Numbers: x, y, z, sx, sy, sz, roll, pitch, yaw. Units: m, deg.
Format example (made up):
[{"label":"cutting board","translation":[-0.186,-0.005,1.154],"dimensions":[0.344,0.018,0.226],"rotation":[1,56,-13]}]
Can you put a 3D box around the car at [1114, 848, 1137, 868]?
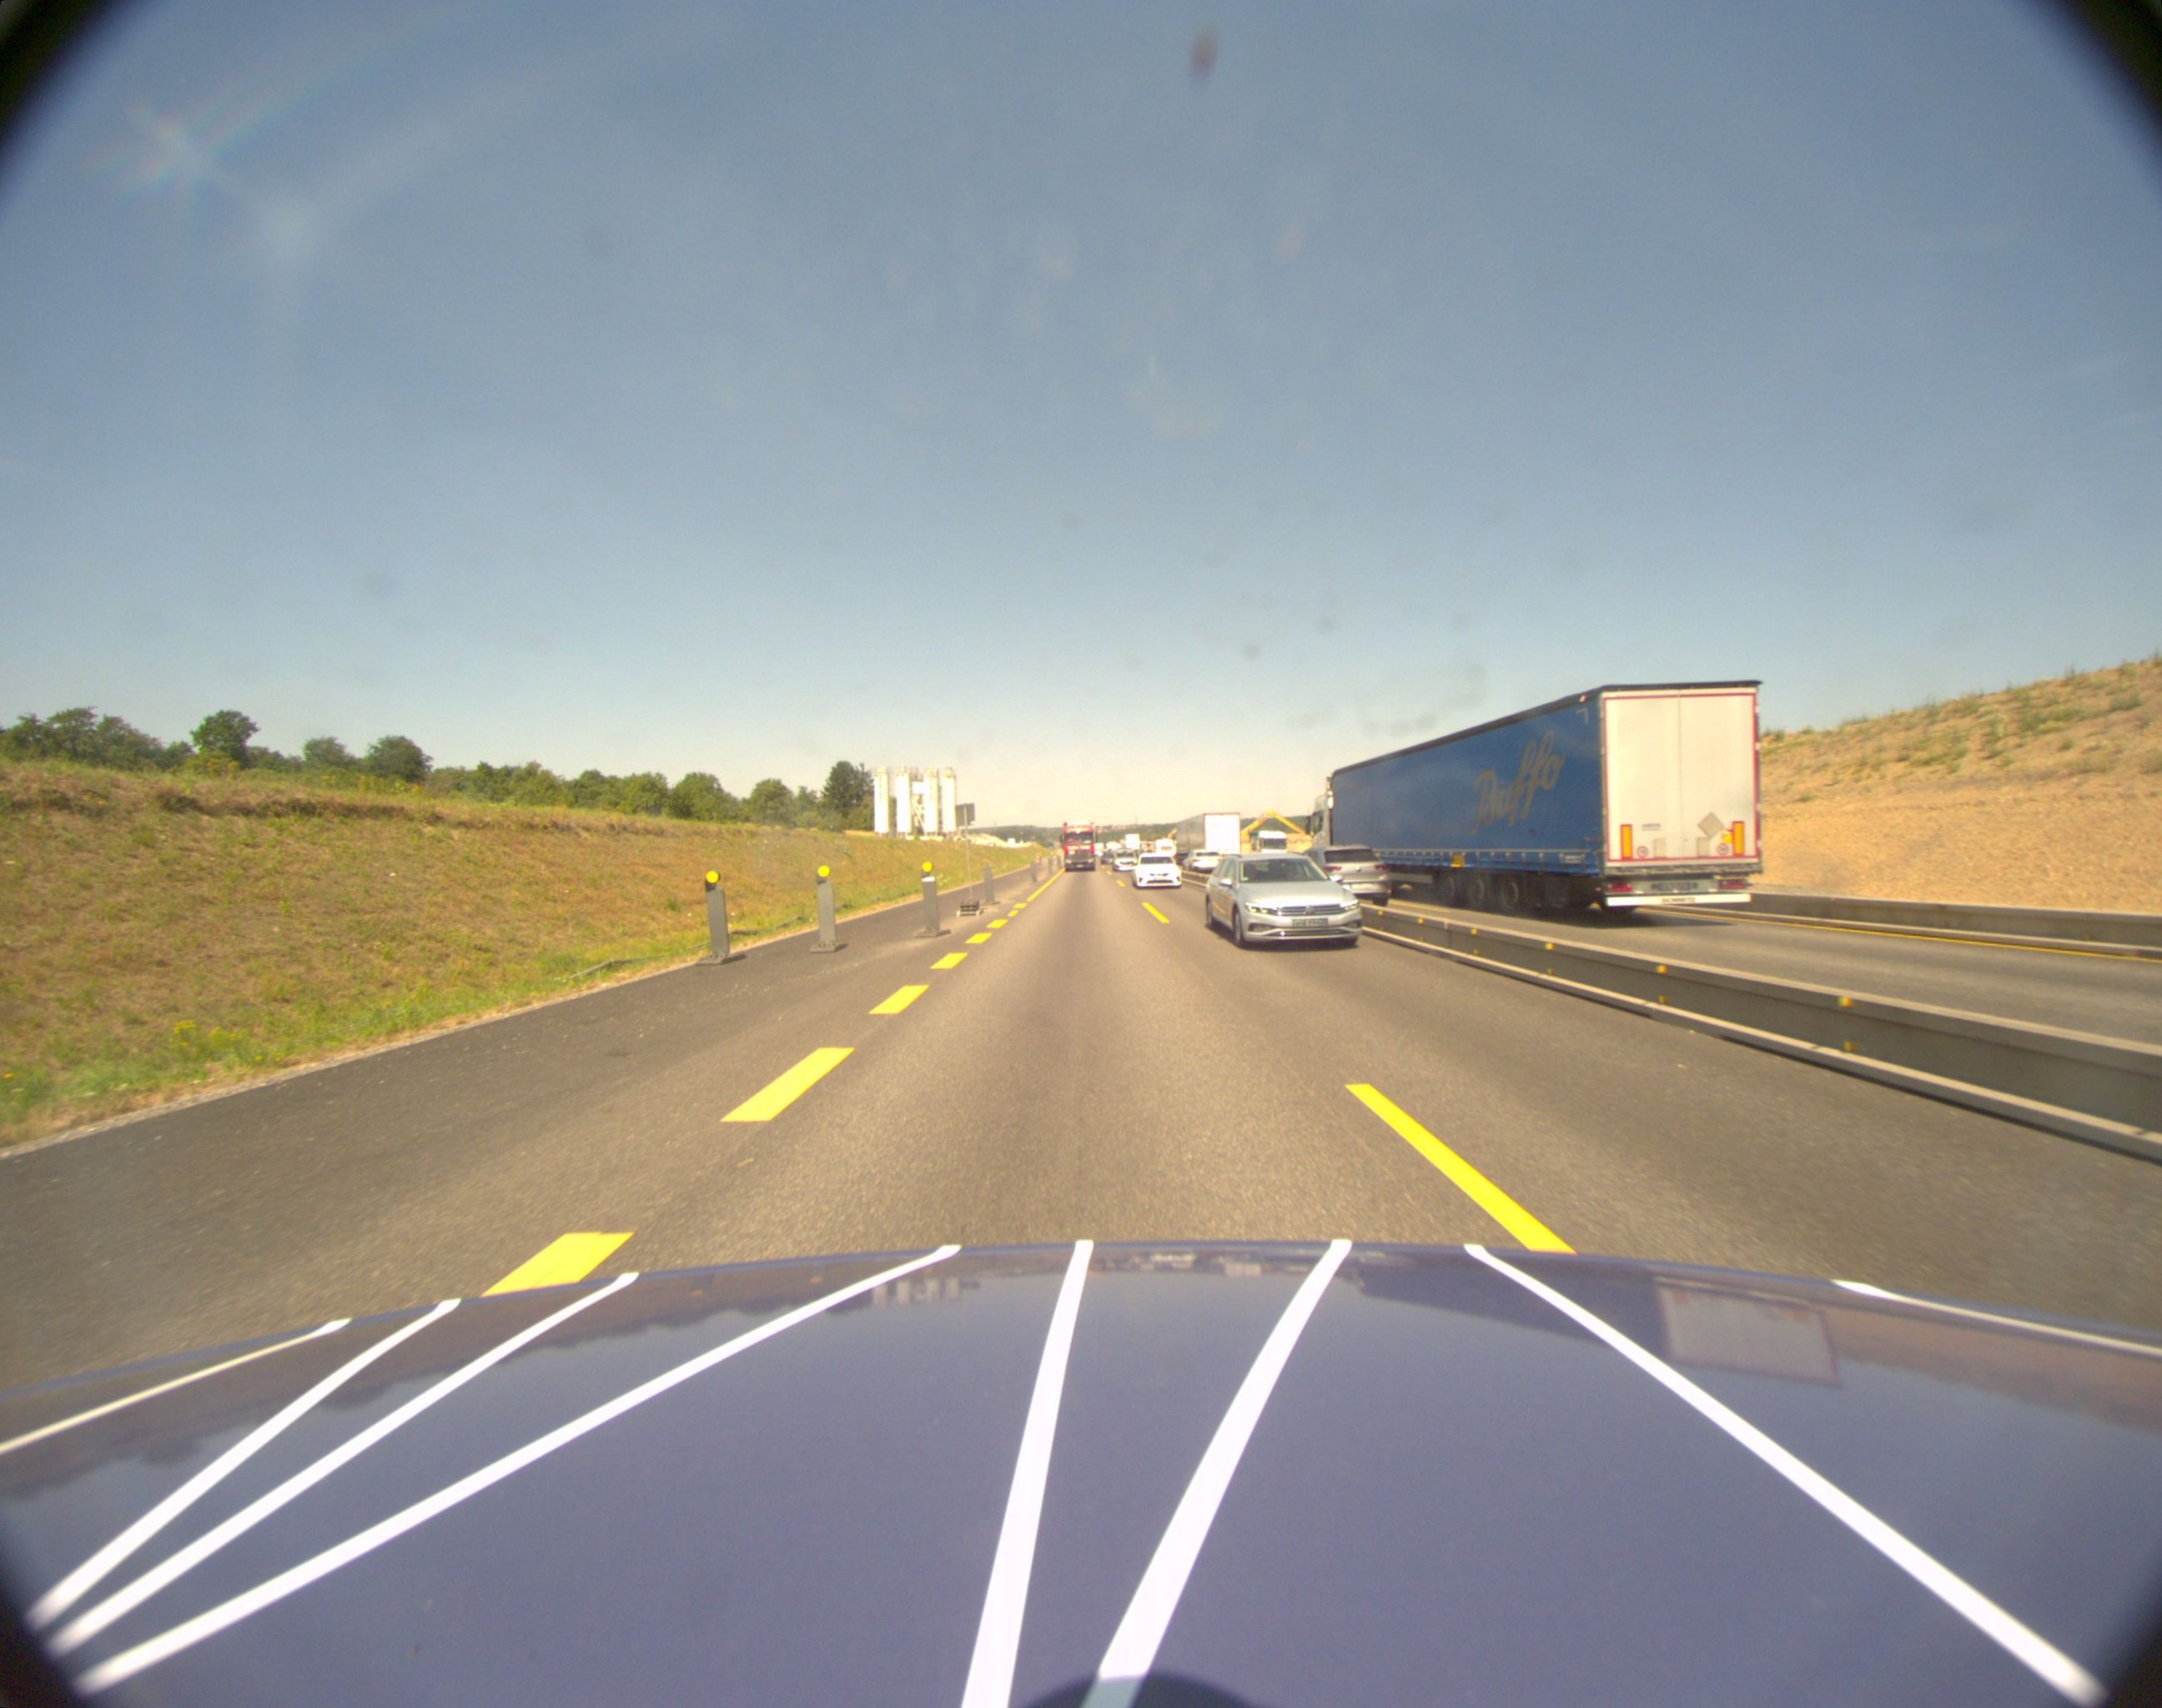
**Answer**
[{"label":"car","translation":[3.364,0.272,58.274],"dimensions":[1.601,1.390,3.695],"rotation":[-2,1,1]}]

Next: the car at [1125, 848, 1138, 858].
[{"label":"car","translation":[8.083,-0.201,121.868],"dimensions":[1.693,1.493,3.975],"rotation":[-2,1,0]}]

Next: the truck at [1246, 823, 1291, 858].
[{"label":"truck","translation":[16.886,-1.204,68.768],"dimensions":[2.586,2.947,5.060],"rotation":[-2,1,-3]}]

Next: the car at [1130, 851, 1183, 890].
[{"label":"car","translation":[3.102,0.648,31.846],"dimensions":[1.875,1.390,4.029],"rotation":[-2,1,1]}]

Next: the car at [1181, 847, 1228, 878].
[{"label":"car","translation":[6.696,0.435,41.673],"dimensions":[1.812,1.480,4.242],"rotation":[-2,1,0]}]

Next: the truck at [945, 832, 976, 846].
[{"label":"truck","translation":[-24.605,-3.097,155.021],"dimensions":[5.317,2.530,2.897],"rotation":[-3,2,-36]}]

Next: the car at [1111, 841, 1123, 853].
[{"label":"car","translation":[7.457,-1.509,157.352],"dimensions":[1.998,2.279,5.342],"rotation":[-2,1,0]}]

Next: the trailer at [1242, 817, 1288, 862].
[{"label":"trailer","translation":[17.886,-1.450,73.488],"dimensions":[2.793,4.075,8.381],"rotation":[-2,2,23]}]

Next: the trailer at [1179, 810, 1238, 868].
[{"label":"trailer","translation":[10.069,-1.152,61.737],"dimensions":[2.508,4.155,15.532],"rotation":[0,1,1]}]

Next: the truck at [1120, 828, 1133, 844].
[{"label":"truck","translation":[11.049,-4.345,184.401],"dimensions":[2.651,3.695,9.480],"rotation":[-2,1,1]}]

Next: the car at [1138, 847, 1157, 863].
[{"label":"car","translation":[7.196,0.068,82.539],"dimensions":[1.693,1.604,4.592],"rotation":[-2,1,0]}]

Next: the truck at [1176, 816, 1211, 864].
[{"label":"truck","translation":[10.222,-1.237,69.527],"dimensions":[2.497,4.174,5.911],"rotation":[0,1,2]}]

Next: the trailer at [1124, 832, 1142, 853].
[{"label":"trailer","translation":[10.648,-2.404,156.828],"dimensions":[2.861,4.070,13.649],"rotation":[-1,1,1]}]

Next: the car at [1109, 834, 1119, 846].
[{"label":"car","translation":[11.386,-4.838,263.765],"dimensions":[2.915,3.719,8.090],"rotation":[-2,1,1]}]

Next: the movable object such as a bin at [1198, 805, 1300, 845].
[{"label":"movable object such as a bin","translation":[31.817,-5.468,144.423],"dimensions":[18.266,6.734,3.387],"rotation":[-2,2,0]}]

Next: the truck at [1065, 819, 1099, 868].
[{"label":"truck","translation":[0.169,-0.922,64.339],"dimensions":[2.537,3.799,9.480],"rotation":[-2,1,1]}]

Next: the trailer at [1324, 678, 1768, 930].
[{"label":"trailer","translation":[9.689,-0.859,19.152],"dimensions":[2.660,3.915,13.994],"rotation":[-2,1,1]}]

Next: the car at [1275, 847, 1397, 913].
[{"label":"car","translation":[6.525,0.605,19.927],"dimensions":[1.780,1.546,4.138],"rotation":[0,0,0]}]

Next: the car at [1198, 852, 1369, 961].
[{"label":"car","translation":[3.220,0.746,12.958],"dimensions":[1.804,1.499,4.100],"rotation":[-2,0,0]}]

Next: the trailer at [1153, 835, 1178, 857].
[{"label":"trailer","translation":[10.567,-1.043,95.435],"dimensions":[2.317,2.671,6.754],"rotation":[0,1,0]}]

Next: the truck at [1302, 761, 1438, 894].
[{"label":"truck","translation":[9.731,-0.836,26.190],"dimensions":[2.598,4.030,5.149],"rotation":[-2,1,0]}]
